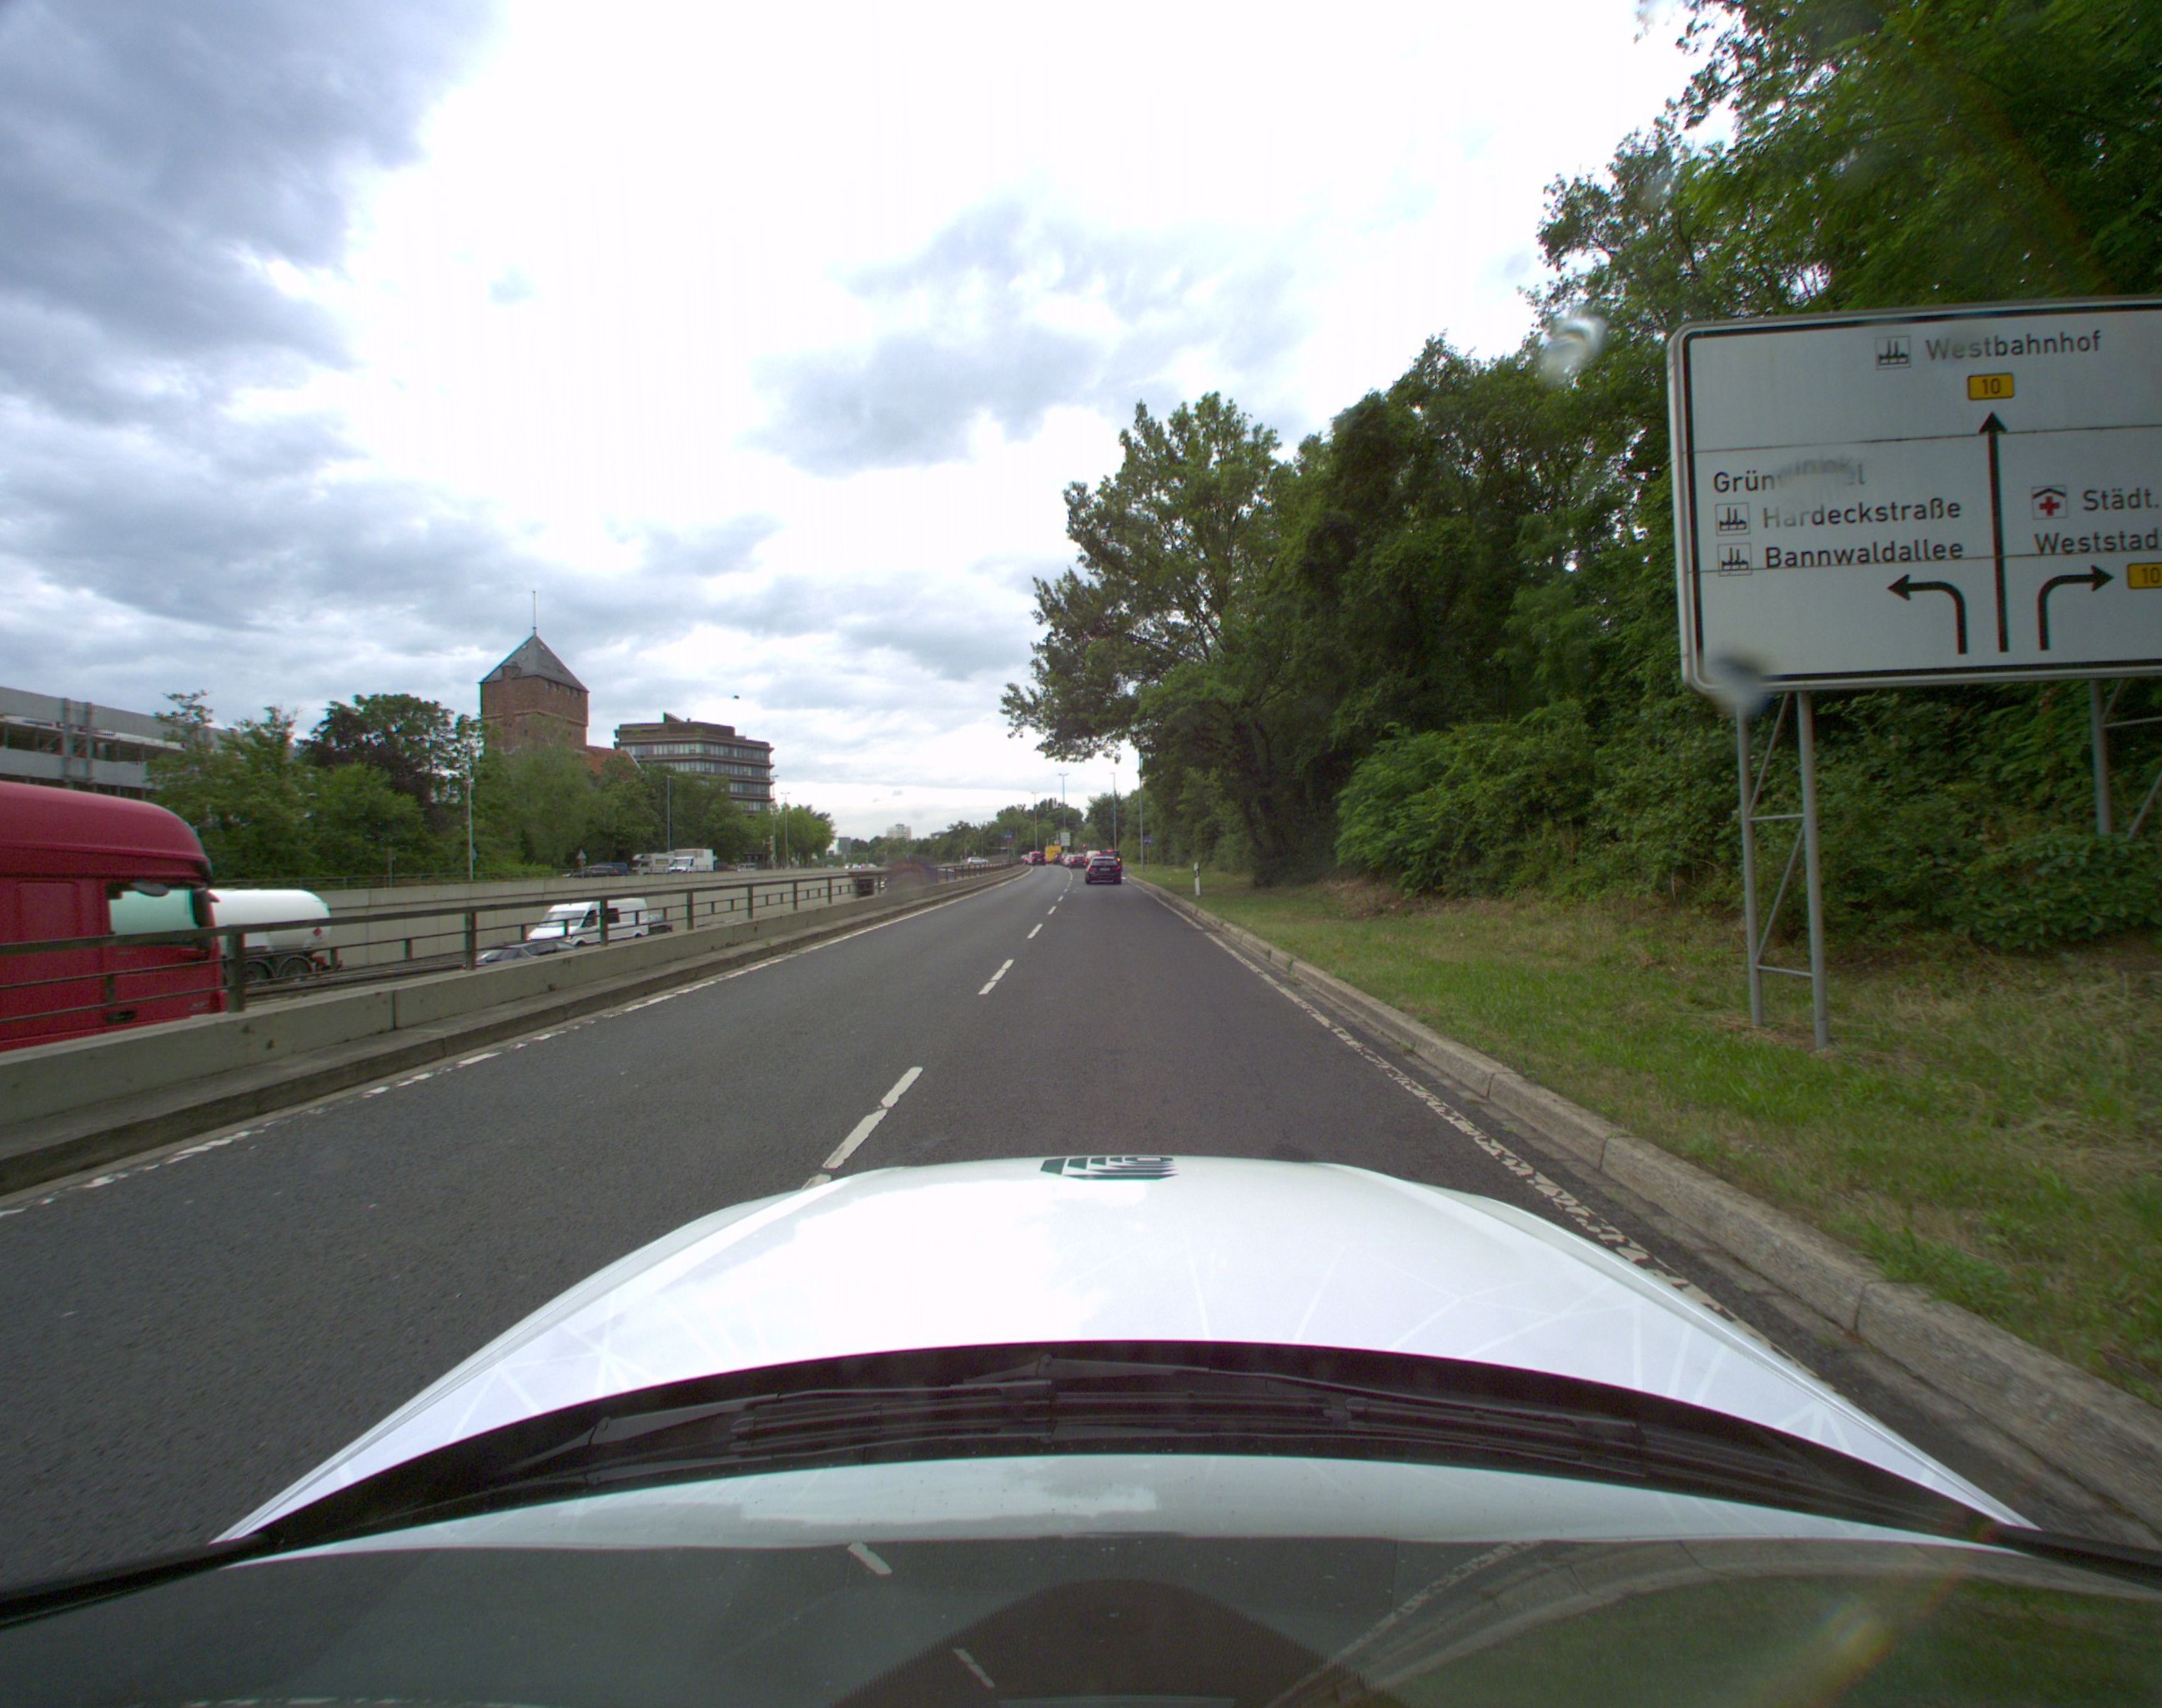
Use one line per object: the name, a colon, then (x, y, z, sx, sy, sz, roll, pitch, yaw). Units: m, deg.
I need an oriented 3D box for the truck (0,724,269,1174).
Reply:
truck: (-11.083, 0.883, 6.543, 2.695, 4.037, 6.205, -2, -1, 2)

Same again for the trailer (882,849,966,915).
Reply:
trailer: (-11.096, 1.883, 59.671, 2.842, 4.037, 16.002, -2, -1, 0)

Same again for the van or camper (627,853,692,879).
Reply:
van or camper: (-46.496, 1.270, 89.904, 5.958, 2.810, 2.120, 0, -1, -44)

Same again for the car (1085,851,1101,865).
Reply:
car: (1.661, 0.533, 113.378, 1.881, 1.880, 4.423, 0, -1, -4)

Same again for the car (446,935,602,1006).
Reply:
car: (-15.836, 3.261, 23.438, 1.648, 1.529, 3.900, 0, -1, 3)

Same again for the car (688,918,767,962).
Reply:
car: (-15.286, 3.700, 35.419, 1.617, 1.529, 3.898, 0, -1, 2)

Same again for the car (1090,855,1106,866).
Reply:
car: (2.193, 0.890, 104.810, 1.879, 1.356, 3.998, 0, -1, -1)

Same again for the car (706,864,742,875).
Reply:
car: (-47.467, 2.082, 108.292, 1.608, 1.441, 4.025, -1, -1, 40)

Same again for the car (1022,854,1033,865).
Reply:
car: (-8.856, 0.938, 134.228, 1.621, 1.701, 4.287, 0, -1, -6)

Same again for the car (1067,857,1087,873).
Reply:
car: (-0.439, 1.183, 87.440, 1.881, 1.592, 4.423, 0, -1, -4)

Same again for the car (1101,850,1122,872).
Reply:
car: (2.723, 0.625, 73.095, 1.892, 1.884, 4.417, 0, -1, 2)

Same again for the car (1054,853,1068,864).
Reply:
car: (-3.108, 0.680, 123.843, 1.881, 1.700, 4.423, 0, -1, -4)

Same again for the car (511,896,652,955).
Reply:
car: (-22.546, 3.156, 37.218, 2.202, 1.999, 6.654, -3, 0, 0)

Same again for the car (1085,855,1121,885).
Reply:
car: (1.101, 0.783, 43.232, 1.743, 1.426, 4.460, -1, 1, 0)

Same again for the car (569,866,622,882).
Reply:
car: (-46.378, 1.866, 77.857, 1.608, 1.441, 4.025, -1, -1, 40)

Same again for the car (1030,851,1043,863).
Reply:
car: (-6.468, 0.483, 118.765, 1.621, 1.701, 4.287, 0, -1, -6)

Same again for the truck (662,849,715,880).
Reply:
truck: (-40.407, 1.078, 84.087, 2.010, 2.987, 7.096, 0, -1, 0)

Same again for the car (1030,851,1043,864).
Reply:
car: (-6.920, 0.591, 126.906, 1.881, 1.987, 4.423, 0, -1, -4)

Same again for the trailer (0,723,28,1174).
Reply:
trailer: (-11.260, 0.799, 0.225, 2.641, 4.037, 14.560, -2, -1, 2)

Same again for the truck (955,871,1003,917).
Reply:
truck: (-10.242, 3.872, 83.784, 2.842, 4.037, 15.575, -2, -1, 0)

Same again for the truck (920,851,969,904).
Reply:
truck: (-11.134, 1.912, 67.076, 2.842, 4.037, 6.095, -2, -1, 0)

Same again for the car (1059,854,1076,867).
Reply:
car: (-1.756, 0.789, 101.621, 1.881, 1.592, 4.423, 0, -1, -4)

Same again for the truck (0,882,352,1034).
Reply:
truck: (-26.491, 2.623, 22.614, 2.517, 3.352, 11.046, -2, -1, 0)
